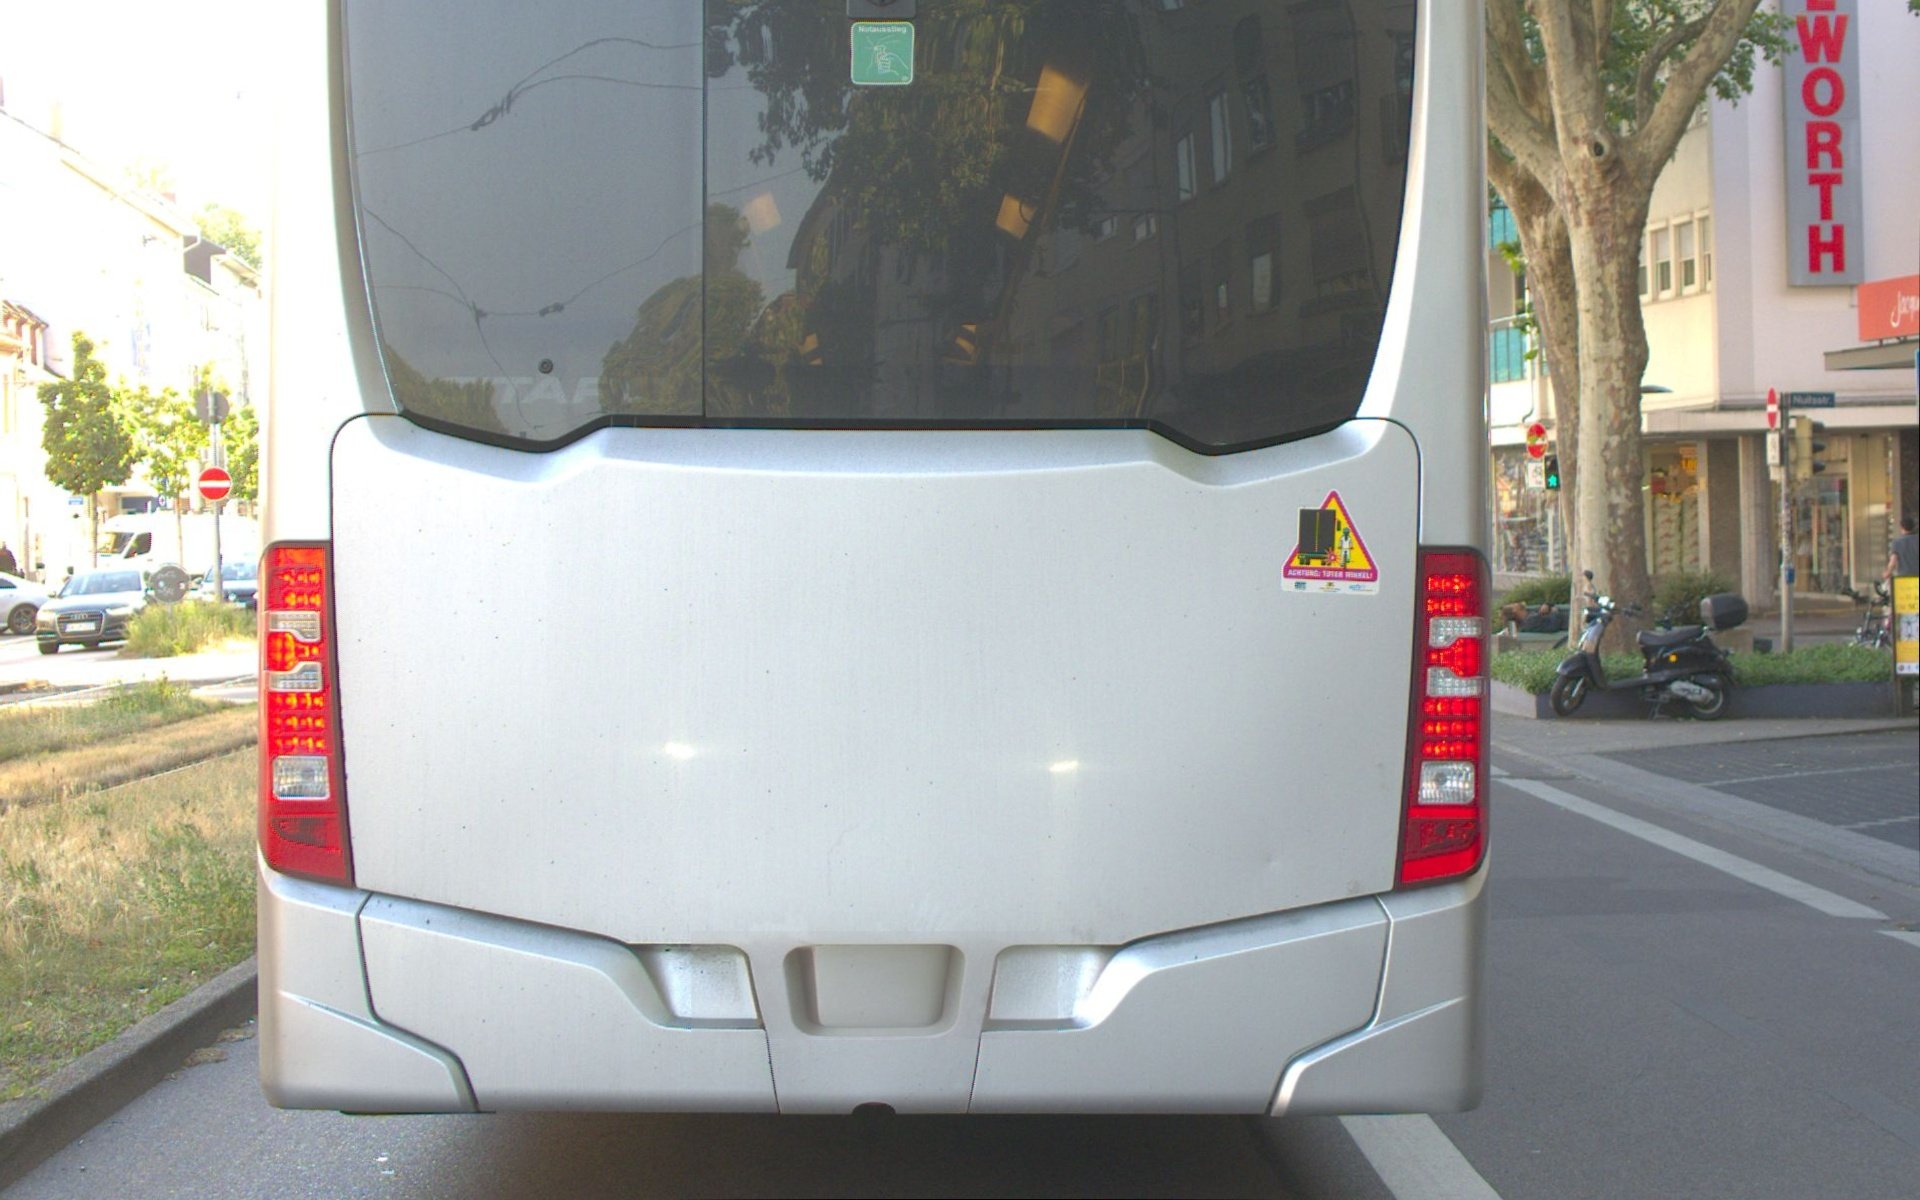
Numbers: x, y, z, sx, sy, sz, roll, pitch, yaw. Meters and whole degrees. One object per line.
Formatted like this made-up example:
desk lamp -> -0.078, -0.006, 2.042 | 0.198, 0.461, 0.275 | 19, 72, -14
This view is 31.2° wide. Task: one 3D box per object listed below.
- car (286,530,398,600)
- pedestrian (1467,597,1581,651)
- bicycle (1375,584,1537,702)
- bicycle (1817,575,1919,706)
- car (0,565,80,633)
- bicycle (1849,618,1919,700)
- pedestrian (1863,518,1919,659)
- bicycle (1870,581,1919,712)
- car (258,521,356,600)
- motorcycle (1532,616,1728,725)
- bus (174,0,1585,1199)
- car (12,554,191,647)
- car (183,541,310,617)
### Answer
car -> -15.137, -0.875, 84.429 | 1.780, 1.609, 4.508 | 2, 1, 2
pedestrian -> 6.712, 0.287, 40.950 | 1.254, 0.587, 0.482 | -2, 1, -2
bicycle -> 4.949, 0.426, 34.350 | 1.509, 1.101, 0.460 | 2, 1, 0
bicycle -> 9.321, 0.357, 33.231 | 1.877, 1.185, 0.711 | -4, 0, 8
car -> -21.624, 0.007, 74.457 | 4.538, 1.407, 2.000 | -2, 1, -36
bicycle -> 9.860, 0.576, 34.224 | 1.877, 0.763, 0.711 | -1, 2, 8
pedestrian -> 12.061, -0.154, 43.971 | 0.780, 1.787, 0.764 | -1, 1, 0
bicycle -> 9.553, 0.380, 32.228 | 1.785, 1.185, 0.672 | -4, 0, -8
car -> -17.362, -1.064, 91.573 | 1.993, 2.007, 4.001 | -1, 1, -3
motorcycle -> 5.848, 0.612, 30.039 | 1.570, 0.889, 0.544 | -1, 1, -3
bus -> -0.118, -0.181, 10.096 | 2.678, 3.073, 7.114 | 0, 1, 1
car -> -15.367, -0.019, 61.793 | 1.993, 1.554, 4.775 | -1, 1, 0
car -> -15.731, -0.495, 75.932 | 1.780, 1.445, 4.044 | -3, 2, 2
